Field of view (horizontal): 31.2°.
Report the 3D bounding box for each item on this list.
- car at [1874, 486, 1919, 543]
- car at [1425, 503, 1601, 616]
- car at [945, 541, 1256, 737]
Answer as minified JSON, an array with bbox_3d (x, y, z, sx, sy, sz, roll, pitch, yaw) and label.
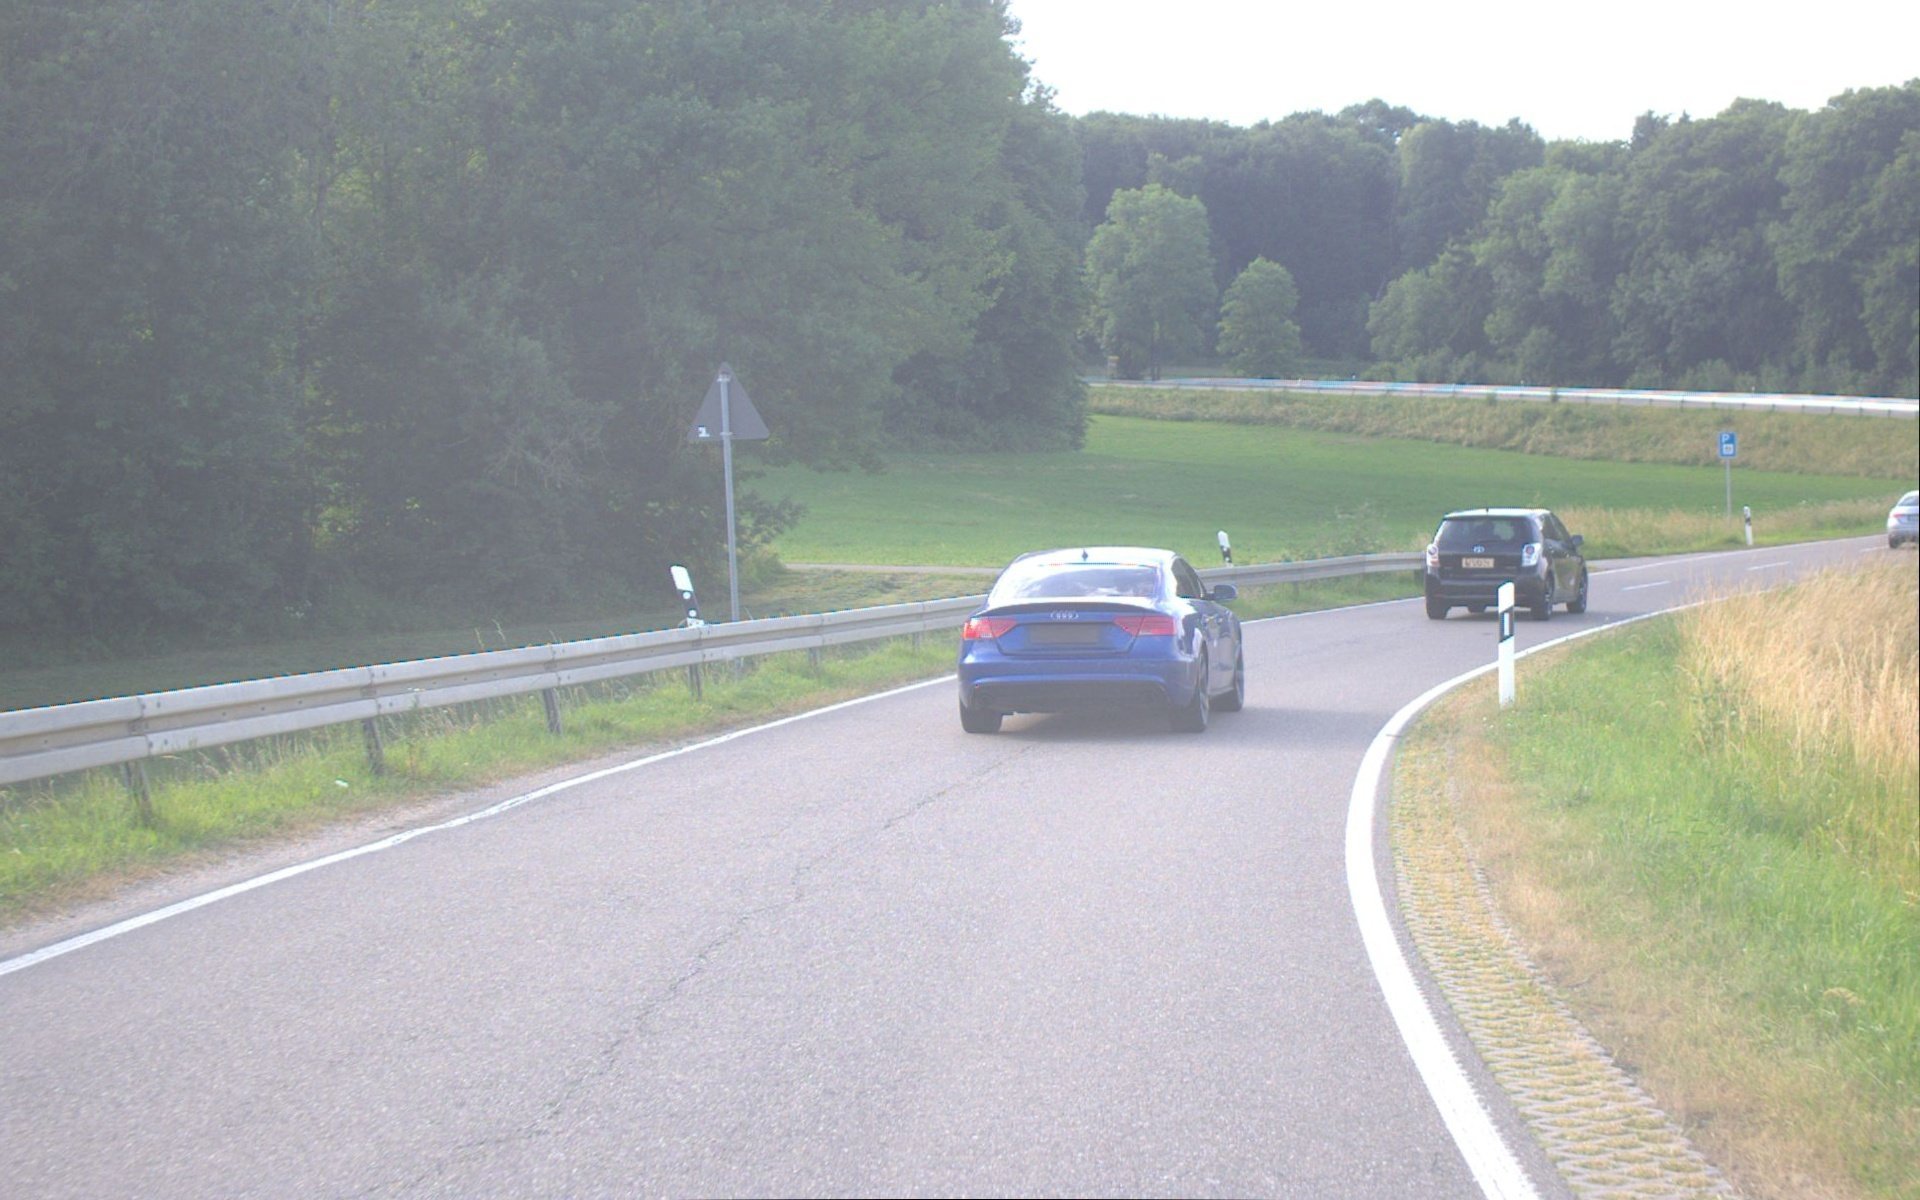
[{"bbox_3d":[24.259,-2.146,85.881,1.685,1.371,3.993,-2,1,31],"label":"car"},{"bbox_3d":[8.226,-0.638,50.874,1.863,1.563,3.996,1,2,19],"label":"car"},{"bbox_3d":[1.181,0.246,26.748,1.819,1.334,4.348,-1,1,10],"label":"car"}]
